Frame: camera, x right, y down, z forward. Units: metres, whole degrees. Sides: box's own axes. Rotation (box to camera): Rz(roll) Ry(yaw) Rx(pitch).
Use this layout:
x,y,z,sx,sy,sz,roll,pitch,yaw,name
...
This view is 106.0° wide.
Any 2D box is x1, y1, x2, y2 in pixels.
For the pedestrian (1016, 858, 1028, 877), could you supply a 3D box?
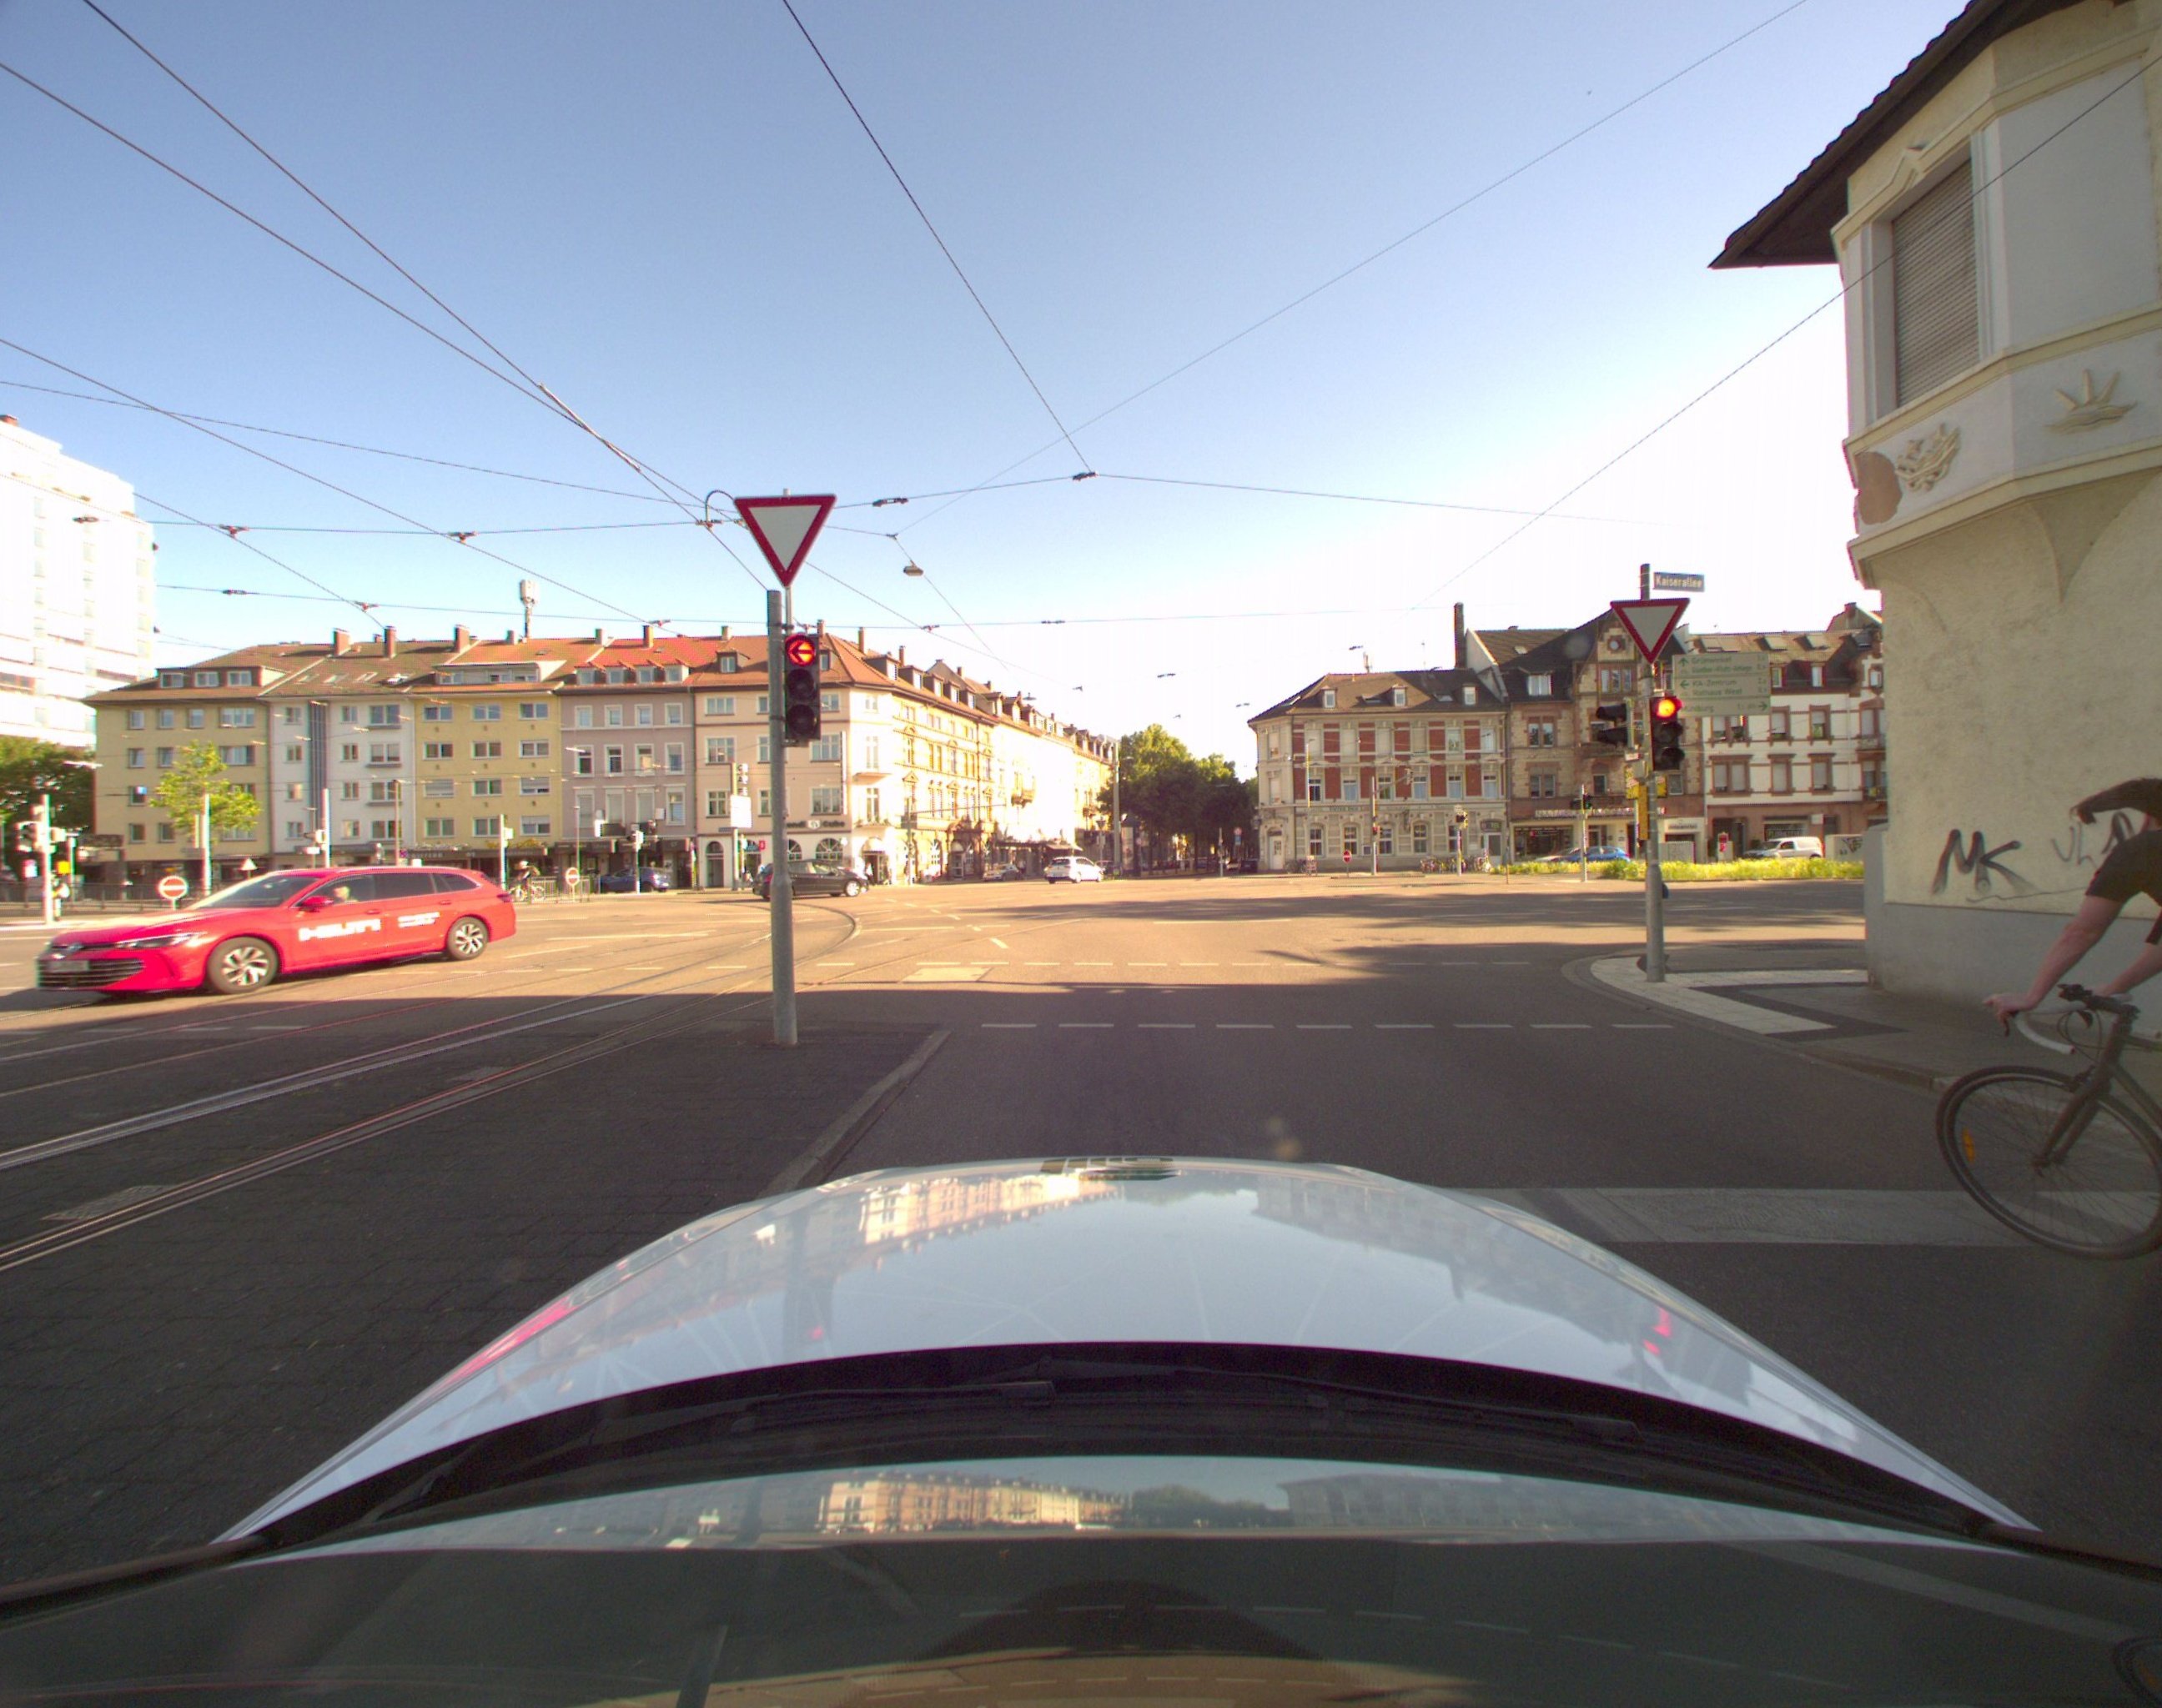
x,y,z,sx,sy,sz,roll,pitch,yaw,name
-4.760,1.104,65.490,0.814,1.512,0.601,-1,-1,16,pedestrian

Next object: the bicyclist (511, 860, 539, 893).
x,y,z,sx,sy,sz,roll,pitch,yaw,name
-23.561,0.961,34.505,0.553,1.366,0.808,-1,-1,33,bicyclist

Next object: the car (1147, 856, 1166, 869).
x,y,z,sx,sy,sz,roll,pitch,yaw,name
11.386,1.324,122.382,1.977,1.904,4.019,-1,-1,19,car

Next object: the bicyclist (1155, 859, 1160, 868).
x,y,z,sx,sy,sz,roll,pitch,yaw,name
10.939,1.409,116.462,0.621,1.266,0.561,-1,-1,18,bicyclist

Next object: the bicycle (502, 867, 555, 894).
x,y,z,sx,sy,sz,roll,pitch,yaw,name
-23.500,1.117,34.673,0.567,1.070,1.806,-1,-1,32,bicycle

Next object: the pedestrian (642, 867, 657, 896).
x,y,z,sx,sy,sz,roll,pitch,yaw,name
-24.161,1.531,45.612,0.632,1.612,0.464,0,-1,-5,pedestrian

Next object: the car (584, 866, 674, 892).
x,y,z,sx,sy,sz,roll,pitch,yaw,name
-25.532,1.382,46.134,3.979,1.376,1.997,0,-1,-4,car

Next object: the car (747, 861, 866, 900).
x,y,z,sx,sy,sz,roll,pitch,yaw,name
-10.299,0.941,30.682,3.875,1.362,1.739,0,-1,-40,car

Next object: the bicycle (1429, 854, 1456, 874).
x,y,z,sx,sy,sz,roll,pitch,yaw,name
23.261,0.625,52.423,0.689,1.287,2.663,0,-1,3,bicycle

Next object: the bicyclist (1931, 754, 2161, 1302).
x,y,z,sx,sy,sz,roll,pitch,yaw,name
3.570,0.510,2.584,0.803,1.606,0.883,0,-1,0,bicyclist

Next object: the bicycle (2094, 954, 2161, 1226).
x,y,z,sx,sy,sz,roll,pitch,yaw,name
4.487,0.922,2.478,0.647,1.031,1.772,0,-1,3,bicycle

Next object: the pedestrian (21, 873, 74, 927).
x,y,z,sx,sy,sz,roll,pitch,yaw,name
-31.583,1.395,24.899,0.697,1.634,0.681,0,-1,-3,pedestrian

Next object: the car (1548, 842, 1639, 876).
x,y,z,sx,sy,sz,roll,pitch,yaw,name
28.342,0.273,45.140,3.769,1.778,2.000,0,-1,1,car

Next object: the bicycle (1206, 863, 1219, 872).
x,y,z,sx,sy,sz,roll,pitch,yaw,name
15.994,1.647,98.865,0.630,1.085,1.687,0,-1,-28,bicycle

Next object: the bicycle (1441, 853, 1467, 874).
x,y,z,sx,sy,sz,roll,pitch,yaw,name
23.984,0.616,52.416,0.626,1.287,2.663,0,-1,3,bicycle

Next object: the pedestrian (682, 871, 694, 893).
x,y,z,sx,sy,sz,roll,pitch,yaw,name
-26.519,1.880,54.955,0.631,1.477,0.465,0,-1,-2,pedestrian

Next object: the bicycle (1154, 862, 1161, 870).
x,y,z,sx,sy,sz,roll,pitch,yaw,name
10.911,1.698,116.362,0.621,1.085,1.710,-1,-1,18,bicycle

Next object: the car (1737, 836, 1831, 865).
x,y,z,sx,sy,sz,roll,pitch,yaw,name
45.311,-0.224,52.570,4.349,1.778,2.000,0,-1,1,car

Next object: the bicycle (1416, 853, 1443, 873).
x,y,z,sx,sy,sz,roll,pitch,yaw,name
22.418,0.564,52.428,0.689,1.287,2.663,0,-1,3,bicycle

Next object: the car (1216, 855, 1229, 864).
x,y,z,sx,sy,sz,roll,pitch,yaw,name
23.293,0.912,134.368,1.546,1.513,3.673,-1,-1,19,car

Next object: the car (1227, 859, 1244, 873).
x,y,z,sx,sy,sz,roll,pitch,yaw,name
18.587,1.414,97.872,1.680,1.565,3.855,-1,-1,14,car

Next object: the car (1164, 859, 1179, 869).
x,y,z,sx,sy,sz,roll,pitch,yaw,name
14.651,1.608,131.746,1.546,1.513,3.673,-1,-1,19,car

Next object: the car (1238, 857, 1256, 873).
x,y,z,sx,sy,sz,roll,pitch,yaw,name
16.818,1.142,82.363,1.680,1.565,3.855,-1,-1,14,car

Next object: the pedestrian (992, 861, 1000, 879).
x,y,z,sx,sy,sz,roll,pitch,yaw,name
-7.506,1.405,71.990,0.539,1.631,0.709,-1,-1,15,pedestrian

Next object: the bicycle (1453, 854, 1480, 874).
x,y,z,sx,sy,sz,roll,pitch,yaw,name
24.774,0.625,52.388,0.626,1.287,2.663,0,-1,3,bicycle

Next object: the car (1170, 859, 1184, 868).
x,y,z,sx,sy,sz,roll,pitch,yaw,name
16.064,1.632,136.133,1.546,1.513,3.673,-1,-1,19,car

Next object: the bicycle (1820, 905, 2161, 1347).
x,y,z,sx,sy,sz,roll,pitch,yaw,name
3.556,0.833,2.649,0.752,1.236,1.702,0,-1,0,bicycle

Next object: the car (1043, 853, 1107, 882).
x,y,z,sx,sy,sz,roll,pitch,yaw,name
-0.290,0.733,44.979,1.755,1.530,4.024,-1,-1,29,car

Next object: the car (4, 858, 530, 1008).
x,y,z,sx,sy,sz,roll,pitch,yaw,name
-10.381,0.874,11.091,1.895,1.522,4.778,-3,0,11,car

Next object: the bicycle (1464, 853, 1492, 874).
x,y,z,sx,sy,sz,roll,pitch,yaw,name
25.502,0.617,52.384,0.626,1.287,2.663,0,-1,3,bicycle

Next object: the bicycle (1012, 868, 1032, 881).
x,y,z,sx,sy,sz,roll,pitch,yaw,name
-4.732,1.634,65.559,0.756,1.008,2.406,-1,-1,16,bicycle

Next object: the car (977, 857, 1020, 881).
x,y,z,sx,sy,sz,roll,pitch,yaw,name
-6.768,1.202,67.476,1.977,1.904,4.019,-1,-1,19,car

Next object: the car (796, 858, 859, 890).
x,y,z,sx,sy,sz,roll,pitch,yaw,name
-13.812,1.053,44.253,1.963,1.618,4.132,0,-1,-38,car

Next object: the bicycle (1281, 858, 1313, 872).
x,y,z,sx,sy,sz,roll,pitch,yaw,name
15.081,0.765,56.892,2.040,0.998,0.631,0,-1,4,bicycle

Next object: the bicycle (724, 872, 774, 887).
x,y,z,sx,sy,sz,roll,pitch,yaw,name
-23.425,1.787,57.466,3.118,0.980,1.002,0,-1,1,bicycle

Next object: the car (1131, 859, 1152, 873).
x,y,z,sx,sy,sz,roll,pitch,yaw,name
8.397,1.615,112.694,1.977,1.904,4.019,-1,-1,19,car

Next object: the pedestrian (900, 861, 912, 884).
x,y,z,sx,sy,sz,roll,pitch,yaw,name
-12.698,1.337,59.014,0.539,1.631,0.709,-1,-1,15,pedestrian

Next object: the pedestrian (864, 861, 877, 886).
x,y,z,sx,sy,sz,roll,pitch,yaw,name
-14.098,1.321,54.530,0.637,1.634,0.693,0,-1,-34,pedestrian

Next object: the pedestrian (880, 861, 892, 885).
x,y,z,sx,sy,sz,roll,pitch,yaw,name
-13.482,1.331,56.290,0.631,1.634,0.700,0,-1,-2,pedestrian

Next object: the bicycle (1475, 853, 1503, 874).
x,y,z,sx,sy,sz,roll,pitch,yaw,name
26.197,0.615,52.356,0.626,1.287,2.663,0,-1,3,bicycle

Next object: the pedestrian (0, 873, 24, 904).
x,y,z,sx,sy,sz,roll,pitch,yaw,name
-55.700,1.792,42.393,0.523,1.628,0.577,0,-1,0,pedestrian

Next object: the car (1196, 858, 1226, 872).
x,y,z,sx,sy,sz,roll,pitch,yaw,name
18.338,1.559,114.726,3.955,1.904,2.009,-1,-1,17,car

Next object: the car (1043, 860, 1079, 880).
x,y,z,sx,sy,sz,roll,pitch,yaw,name
-1.643,1.331,67.744,1.979,1.618,4.015,-1,-1,14,car

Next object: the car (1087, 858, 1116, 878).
x,y,z,sx,sy,sz,roll,pitch,yaw,name
2.038,1.400,79.810,1.979,1.904,4.015,-1,-1,14,car
